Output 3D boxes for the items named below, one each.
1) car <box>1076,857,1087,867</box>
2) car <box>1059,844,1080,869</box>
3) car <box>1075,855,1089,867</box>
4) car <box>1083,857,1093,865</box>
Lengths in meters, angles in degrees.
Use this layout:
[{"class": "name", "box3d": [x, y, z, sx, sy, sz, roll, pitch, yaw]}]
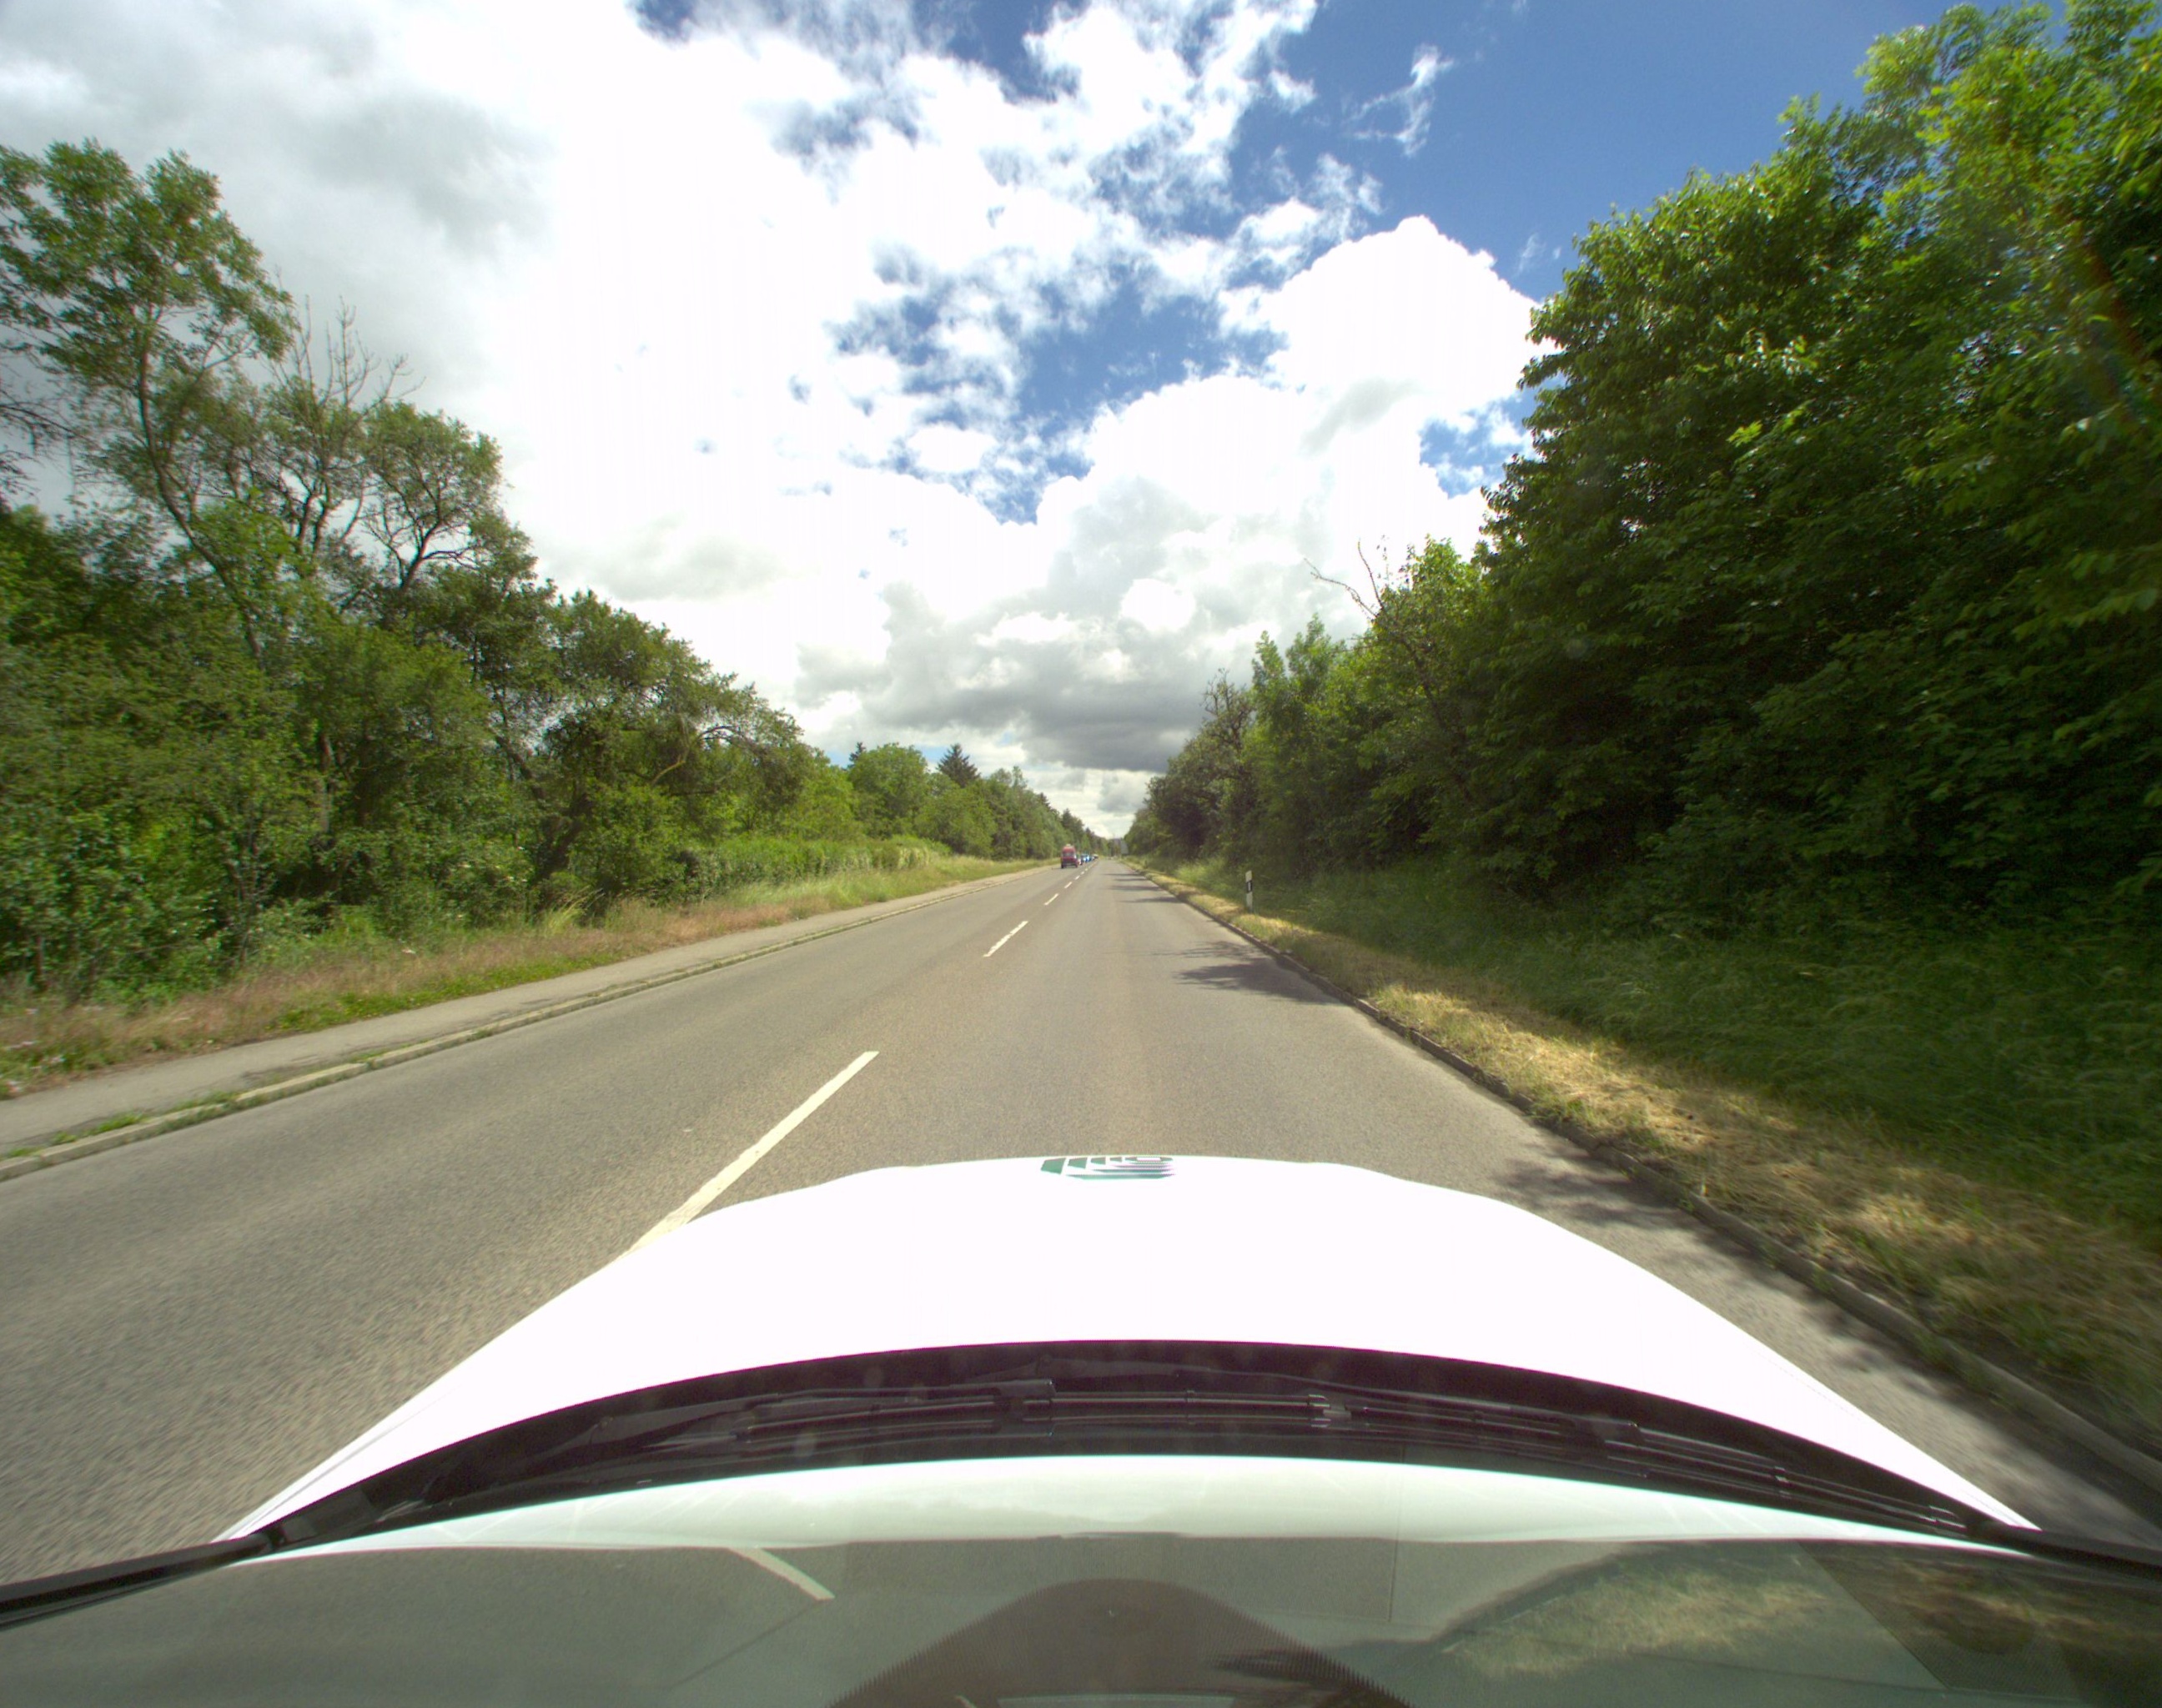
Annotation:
[{"class": "car", "box3d": [0.149, 1.380, 141.925, 1.778, 1.446, 4.452, -4, 0, 1]}, {"class": "car", "box3d": [-1.295, 0.278, 90.433, 1.962, 2.550, 4.726, -4, 0, 1]}, {"class": "car", "box3d": [0.104, 0.921, 111.386, 1.710, 1.471, 4.000, -4, 0, 1]}, {"class": "car", "box3d": [1.293, 1.345, 156.880, 1.778, 1.446, 2.966, -4, 0, 0]}]
